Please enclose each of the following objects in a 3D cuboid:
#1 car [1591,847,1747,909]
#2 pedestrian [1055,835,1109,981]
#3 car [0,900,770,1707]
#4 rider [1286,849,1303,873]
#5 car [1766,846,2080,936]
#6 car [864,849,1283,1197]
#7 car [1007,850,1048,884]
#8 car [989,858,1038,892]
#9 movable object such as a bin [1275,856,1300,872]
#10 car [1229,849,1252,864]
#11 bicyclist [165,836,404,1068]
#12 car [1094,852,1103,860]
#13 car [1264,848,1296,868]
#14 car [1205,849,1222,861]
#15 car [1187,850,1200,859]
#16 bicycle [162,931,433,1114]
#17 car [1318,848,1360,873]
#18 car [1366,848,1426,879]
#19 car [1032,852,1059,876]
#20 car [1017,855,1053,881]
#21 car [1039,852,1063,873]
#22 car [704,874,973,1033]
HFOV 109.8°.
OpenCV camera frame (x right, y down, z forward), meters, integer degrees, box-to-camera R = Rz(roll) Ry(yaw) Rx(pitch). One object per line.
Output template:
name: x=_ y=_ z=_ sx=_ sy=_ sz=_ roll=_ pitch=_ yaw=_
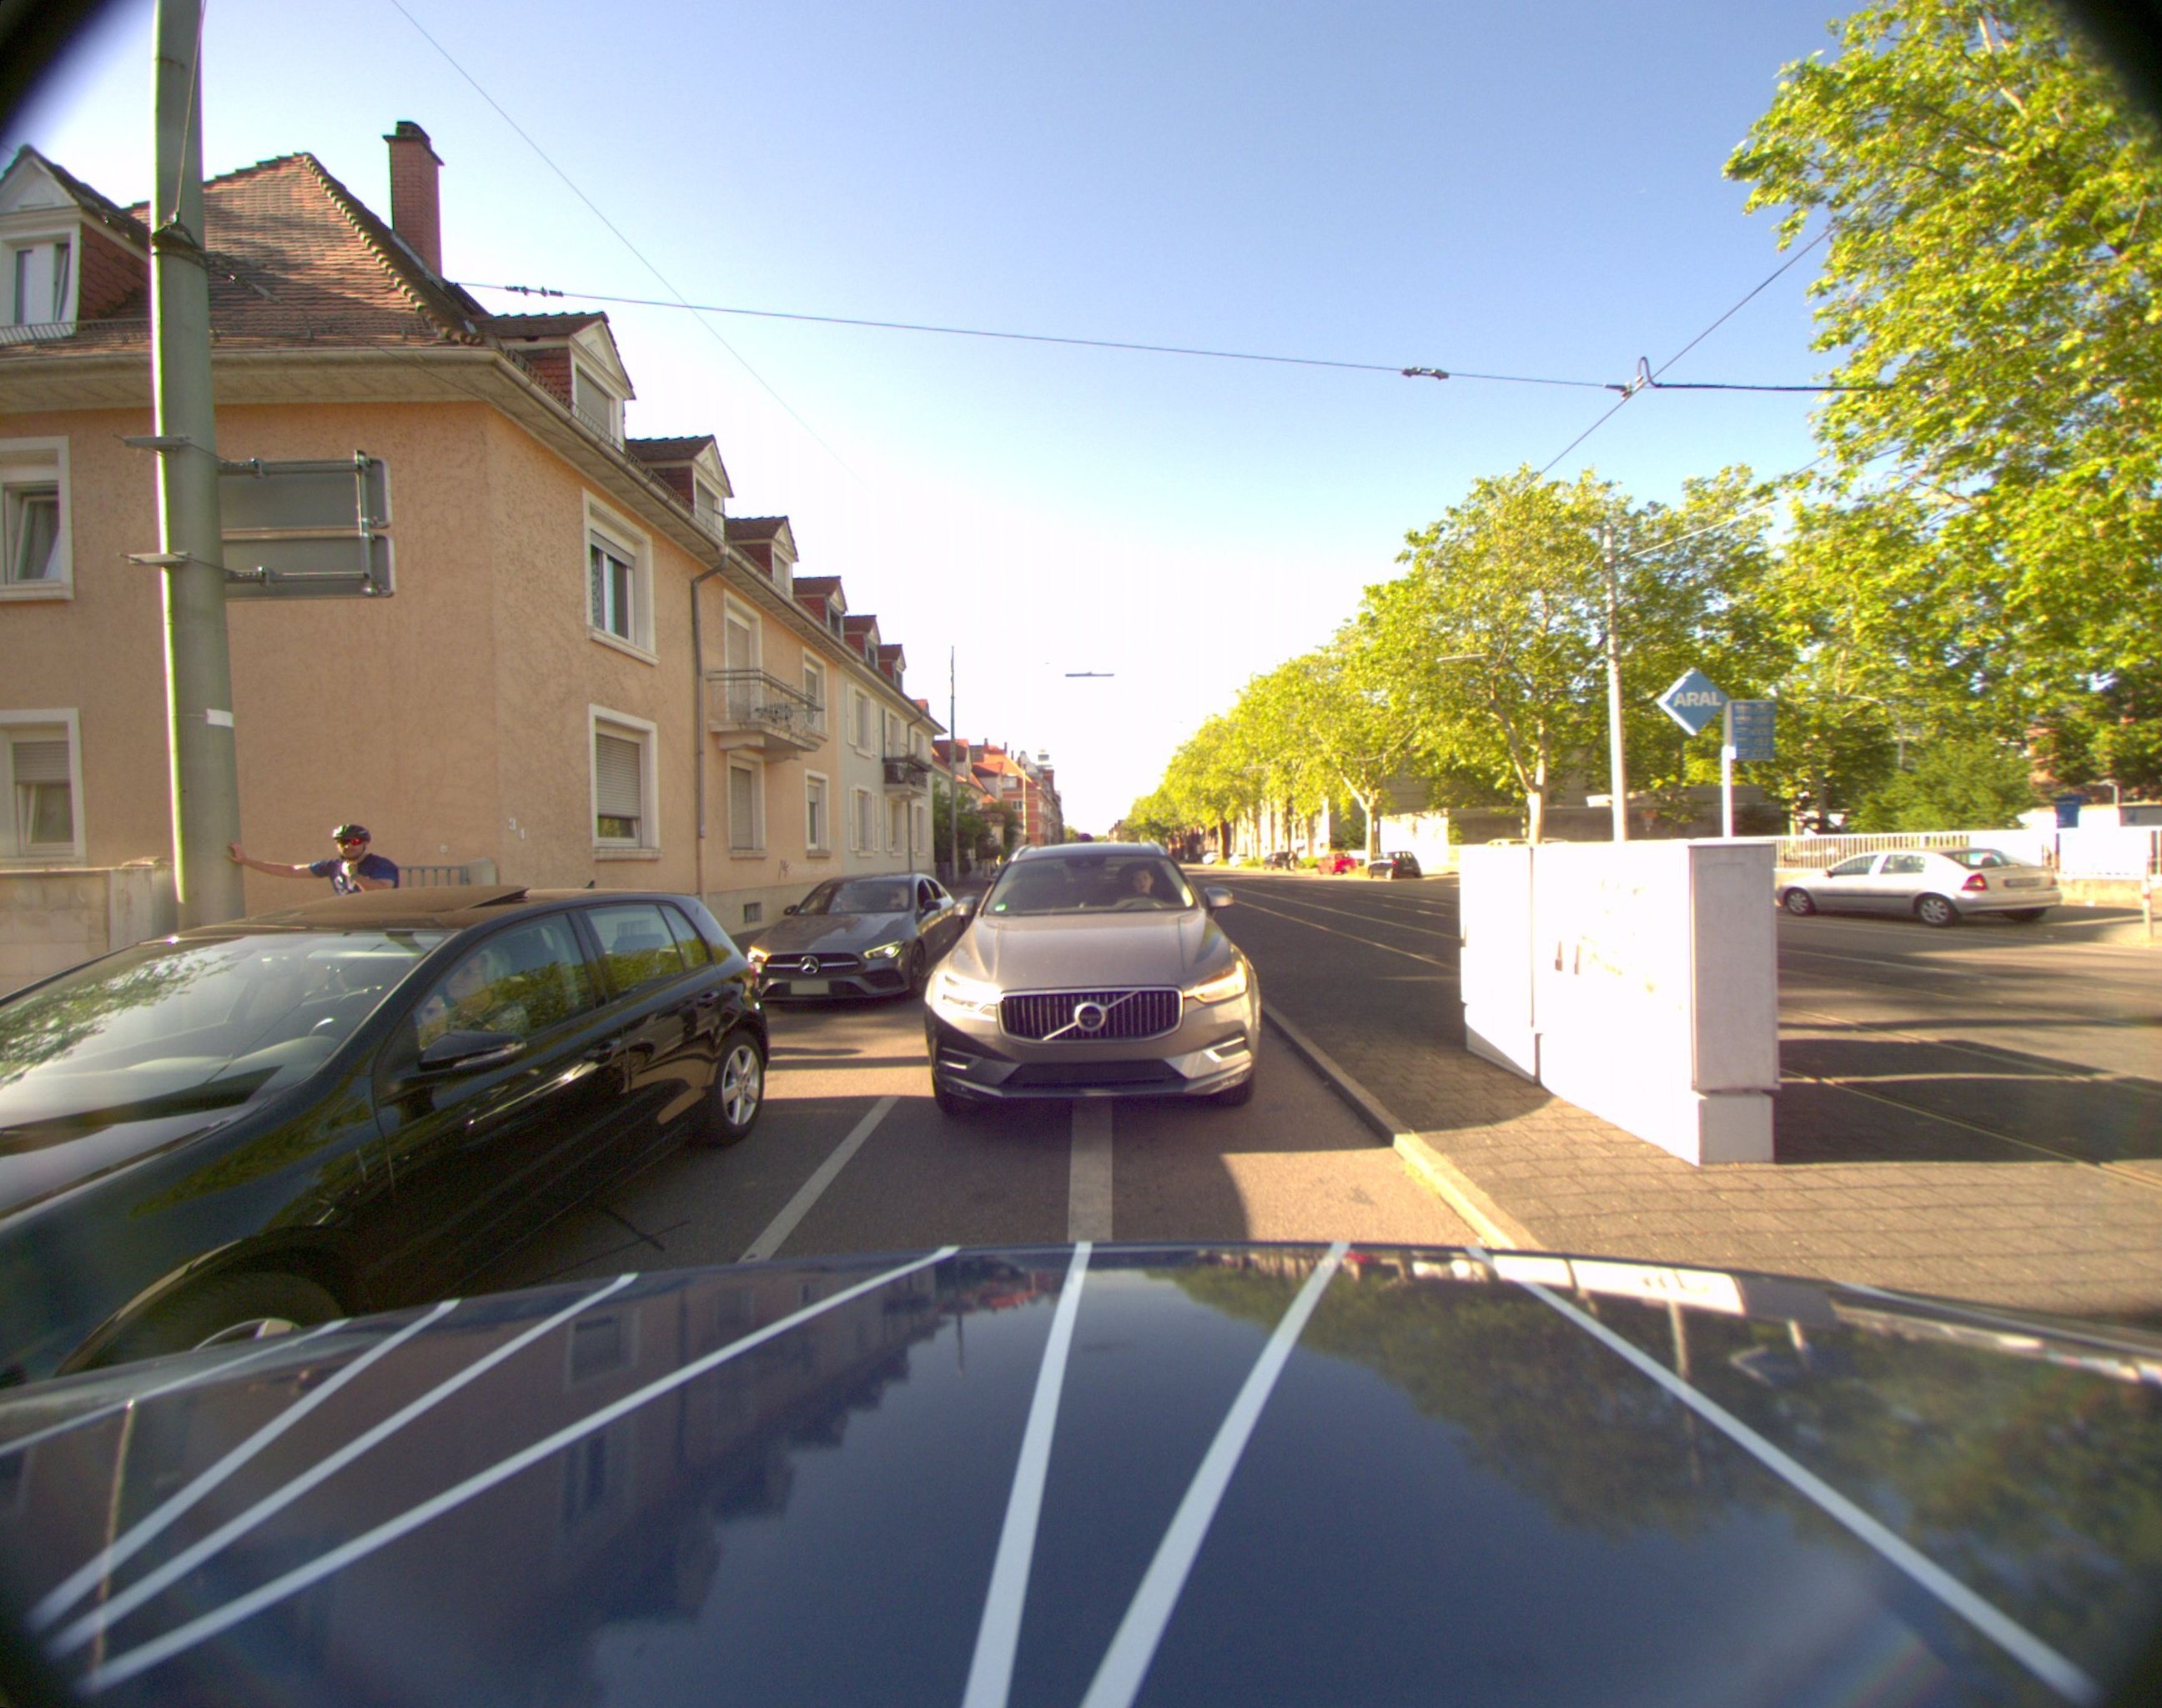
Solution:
car: x=16.354 y=0.603 z=21.361 sx=1.619 sy=1.436 sz=3.606 roll=-4 pitch=1 yaw=3
pedestrian: x=0.018 y=0.680 z=9.886 sx=0.609 sy=1.832 sz=0.599 roll=-2 pitch=1 yaw=1
car: x=-2.806 y=1.047 z=2.633 sx=1.717 sy=1.430 sz=3.990 roll=-2 pitch=1 yaw=1
rider: x=14.923 y=0.455 z=53.085 sx=0.725 sy=1.639 sz=1.106 roll=-2 pitch=1 yaw=-4
car: x=16.194 y=0.632 z=14.987 sx=1.687 sy=1.358 sz=3.989 roll=-6 pitch=0 yaw=1
car: x=0.116 y=0.801 z=5.769 sx=1.924 sy=1.579 sz=4.387 roll=-2 pitch=1 yaw=4
car: x=-2.914 y=0.692 z=42.385 sx=1.825 sy=1.701 sz=4.334 roll=-2 pitch=1 yaw=1
car: x=-3.238 y=0.967 z=37.130 sx=1.825 sy=1.422 sz=4.334 roll=-2 pitch=1 yaw=1
movable object such as a bin: x=14.791 y=0.721 z=54.417 sx=1.178 sy=1.097 sz=1.834 roll=-2 pitch=1 yaw=-4
car: x=17.520 y=0.256 z=83.462 sx=1.754 sy=1.532 sz=3.878 roll=-4 pitch=1 yaw=3
bicyclist: x=-6.164 y=0.728 z=5.944 sx=1.021 sy=1.684 sz=0.729 roll=2 pitch=0 yaw=-7
car: x=3.685 y=0.423 z=163.707 sx=1.851 sy=1.640 sz=3.999 roll=-2 pitch=1 yaw=1
car: x=17.234 y=0.323 z=65.953 sx=1.754 sy=1.582 sz=3.878 roll=-4 pitch=1 yaw=3
car: x=17.565 y=0.105 z=100.672 sx=1.661 sy=1.452 sz=3.730 roll=-4 pitch=1 yaw=3
car: x=18.544 y=0.063 z=125.548 sx=1.661 sy=1.452 sz=3.730 roll=-4 pitch=1 yaw=3
bicycle: x=-6.009 y=1.232 z=5.973 sx=0.556 sy=1.069 sz=1.624 roll=2 pitch=0 yaw=-7
car: x=16.943 y=0.405 z=50.047 sx=1.661 sy=1.486 sz=3.377 roll=-4 pitch=1 yaw=3
car: x=16.830 y=0.450 z=40.817 sx=1.723 sy=1.436 sz=3.769 roll=-4 pitch=1 yaw=3
car: x=-2.790 y=0.777 z=60.904 sx=1.825 sy=1.701 sz=4.334 roll=-2 pitch=1 yaw=1
car: x=-2.793 y=0.841 z=47.147 sx=1.825 sy=1.424 sz=4.334 roll=-2 pitch=1 yaw=1
car: x=-2.603 y=0.699 z=67.270 sx=1.825 sy=1.701 sz=4.334 roll=-2 pitch=1 yaw=1
car: x=-2.675 y=1.022 z=9.619 sx=1.825 sy=1.422 sz=4.491 roll=-2 pitch=-1 yaw=1
